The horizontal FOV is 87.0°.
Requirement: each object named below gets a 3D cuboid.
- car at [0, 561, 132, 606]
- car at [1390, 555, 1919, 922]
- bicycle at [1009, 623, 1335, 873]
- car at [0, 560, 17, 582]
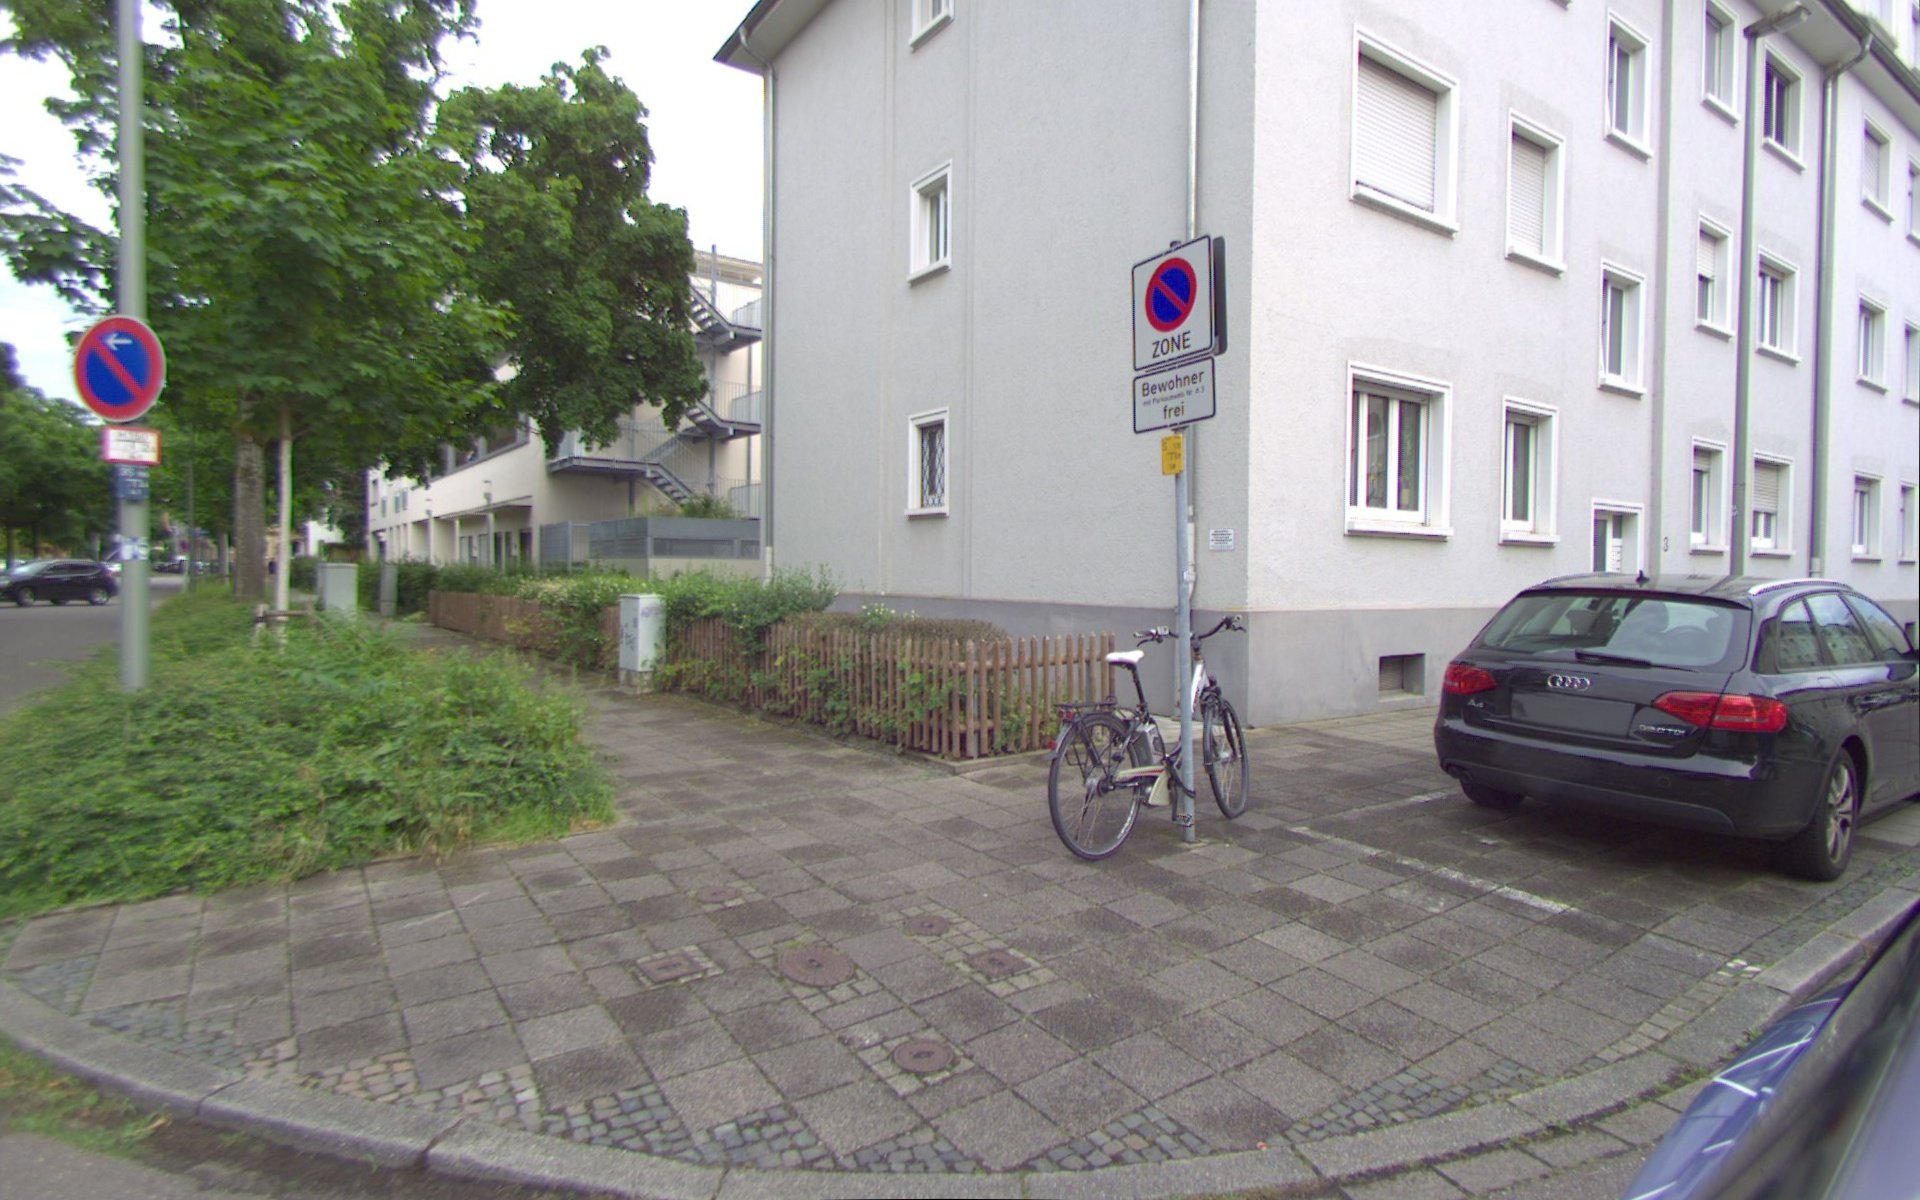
[{"bbox_3d":[-32.617,-0.611,36.171,1.968,1.504,4.527,1,1,10],"label":"car"},{"bbox_3d":[4.819,0.515,6.241,4.637,1.480,1.866,0,3,-36],"label":"car"},{"bbox_3d":[1.172,0.698,5.394,1.853,1.016,0.569,-3,5,-35],"label":"bicycle"},{"bbox_3d":[-85.910,-2.552,89.765,1.806,1.948,3.261,1,2,45],"label":"car"}]
